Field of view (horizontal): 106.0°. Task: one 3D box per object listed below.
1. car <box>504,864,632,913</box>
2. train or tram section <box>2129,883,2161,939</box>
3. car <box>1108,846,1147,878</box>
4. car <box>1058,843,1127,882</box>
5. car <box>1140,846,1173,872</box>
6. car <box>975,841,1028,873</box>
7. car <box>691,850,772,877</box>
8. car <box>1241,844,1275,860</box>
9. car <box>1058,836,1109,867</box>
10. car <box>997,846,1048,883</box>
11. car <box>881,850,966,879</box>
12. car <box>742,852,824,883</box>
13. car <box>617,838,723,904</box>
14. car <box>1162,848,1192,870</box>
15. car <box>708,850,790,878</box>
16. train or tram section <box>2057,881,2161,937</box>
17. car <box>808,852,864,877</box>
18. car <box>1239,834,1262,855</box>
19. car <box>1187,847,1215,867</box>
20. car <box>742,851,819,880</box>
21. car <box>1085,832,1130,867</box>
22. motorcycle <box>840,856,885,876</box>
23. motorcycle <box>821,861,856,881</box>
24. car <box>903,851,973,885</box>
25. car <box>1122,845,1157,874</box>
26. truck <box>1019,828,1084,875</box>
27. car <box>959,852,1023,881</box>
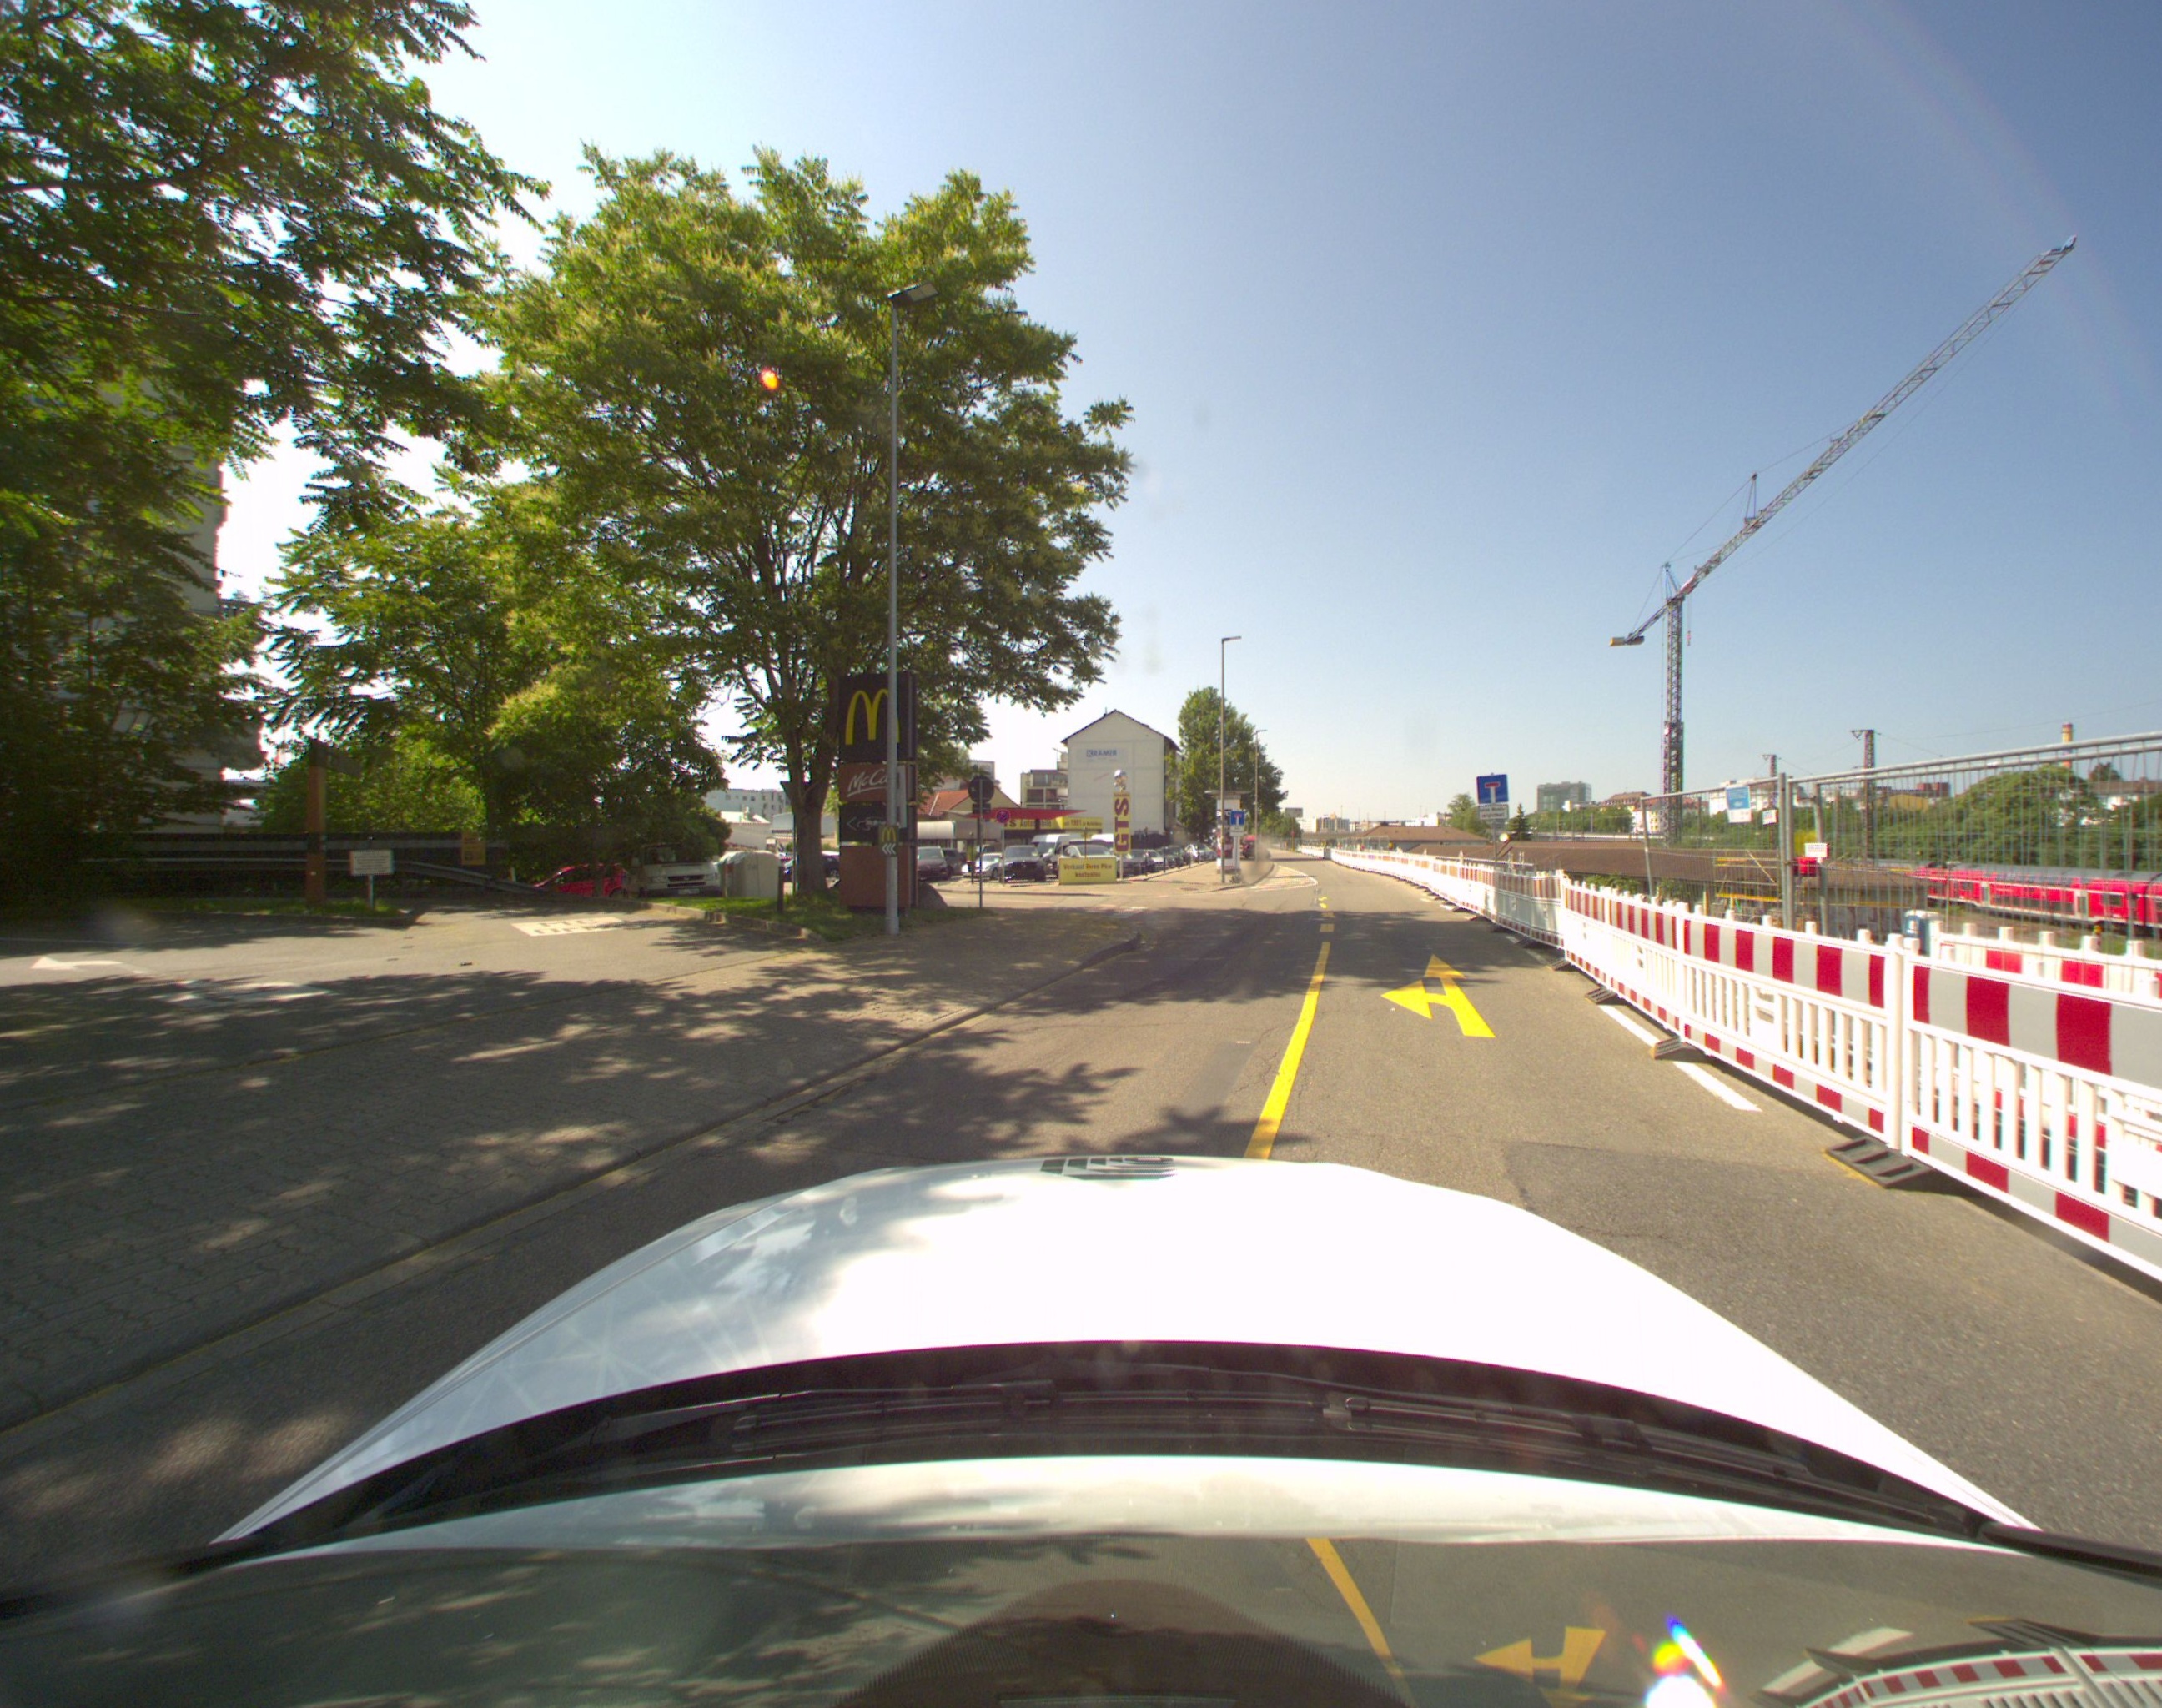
[{"bbox_3d":[-17.256,1.116,27.485,3.435,1.378,1.468,-2,3,-44],"label":"car"},{"bbox_3d":[74.282,3.982,53.672,2.986,3.703,9.027,3,1,29],"label":"train or tram section"},{"bbox_3d":[2.391,0.377,42.835,1.850,1.629,4.001,0,0,1],"label":"car"},{"bbox_3d":[0.466,0.383,38.265,1.999,1.725,3.974,1,0,-19],"label":"car"},{"bbox_3d":[4.943,0.316,53.817,1.850,1.629,4.001,0,0,1],"label":"car"},{"bbox_3d":[-5.174,0.195,53.567,1.979,2.013,4.514,1,0,16],"label":"car"},{"bbox_3d":[-23.753,0.637,55.465,1.974,1.725,4.683,0,-1,37],"label":"car"},{"bbox_3d":[19.367,-0.199,89.122,3.287,1.637,1.712,1,0,-26],"label":"car"},{"bbox_3d":[0.211,-0.158,50.051,1.863,1.738,4.743,1,1,16],"label":"car"},{"bbox_3d":[-2.747,0.445,37.433,2.045,1.594,4.412,1,0,-7],"label":"car"},{"bbox_3d":[-8.867,0.583,45.826,4.338,1.585,1.985,1,0,-23],"label":"car"},{"bbox_3d":[-17.249,0.769,47.274,1.975,1.706,4.024,1,0,44],"label":"car"},{"bbox_3d":[-11.532,0.392,22.670,1.966,1.583,4.978,1,1,-35],"label":"car"},{"bbox_3d":[7.282,0.357,62.227,1.850,1.629,4.001,0,0,1],"label":"car"},{"bbox_3d":[-21.919,0.661,53.922,1.974,1.725,4.683,0,-1,37],"label":"car"},{"bbox_3d":[78.640,4.046,61.580,2.986,3.703,9.027,3,1,29],"label":"train or tram section"},{"bbox_3d":[-16.676,0.675,55.351,2.011,1.585,3.951,1,0,-44],"label":"car"},{"bbox_3d":[21.513,-1.143,103.052,2.519,2.520,5.139,1,0,15],"label":"car"},{"bbox_3d":[10.267,0.232,69.763,1.850,1.629,4.001,0,0,1],"label":"car"},{"bbox_3d":[-18.507,0.707,50.352,1.974,1.725,4.025,0,-1,37],"label":"car"},{"bbox_3d":[1.854,-0.296,55.894,2.120,2.284,4.729,0,0,14],"label":"car"},{"bbox_3d":[-14.068,0.781,52.479,0.986,1.227,2.736,1,0,36],"label":"motorcycle"},{"bbox_3d":[-14.564,1.017,48.969,1.882,1.158,0.781,1,0,-34],"label":"motorcycle"},{"bbox_3d":[-6.833,0.645,39.356,1.775,1.510,4.015,1,0,14],"label":"car"},{"bbox_3d":[3.446,0.290,48.394,1.850,1.629,4.001,0,0,1],"label":"car"},{"bbox_3d":[-1.829,-0.183,53.284,2.251,2.903,5.971,1,1,18],"label":"truck"},{"bbox_3d":[-4.912,0.650,44.959,1.772,1.487,4.022,1,0,23],"label":"car"}]
